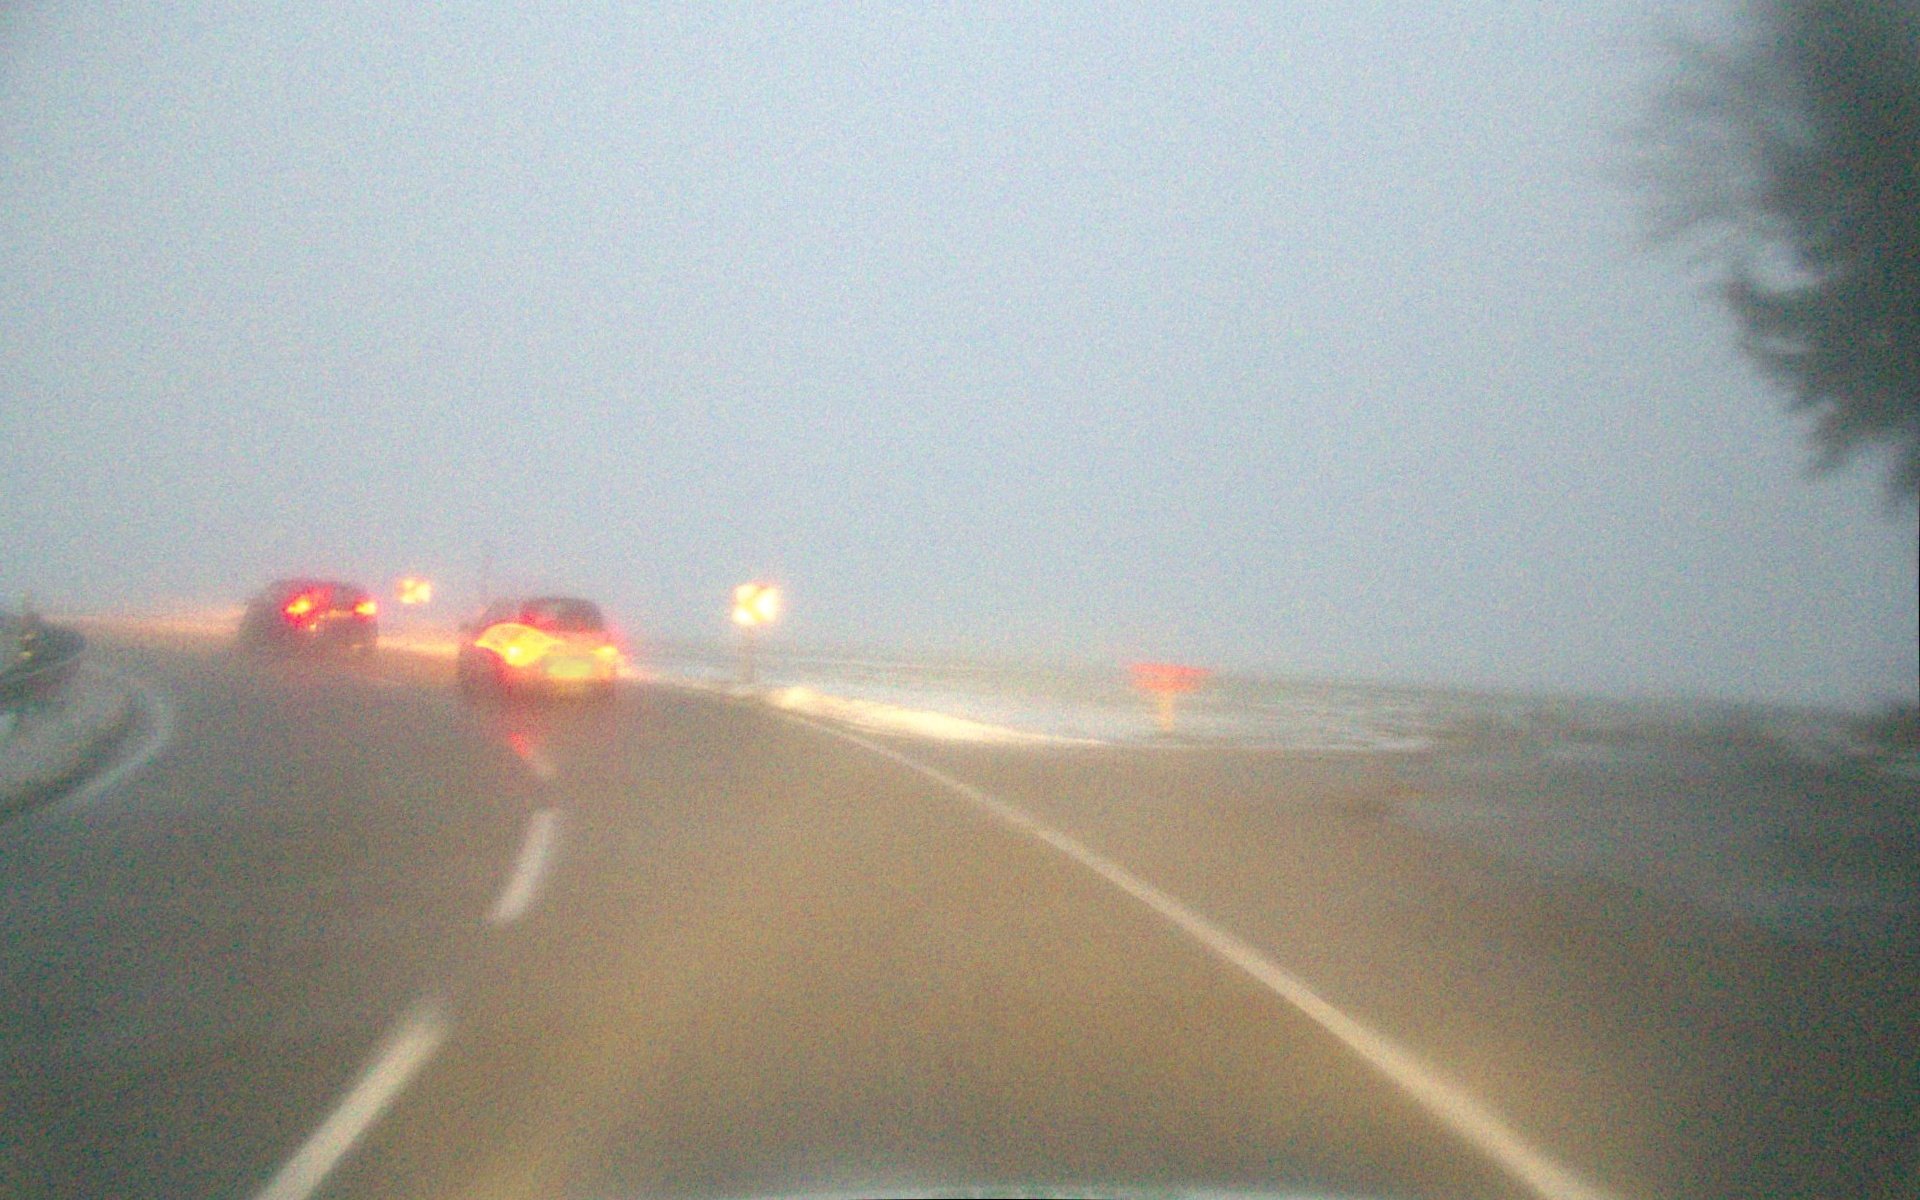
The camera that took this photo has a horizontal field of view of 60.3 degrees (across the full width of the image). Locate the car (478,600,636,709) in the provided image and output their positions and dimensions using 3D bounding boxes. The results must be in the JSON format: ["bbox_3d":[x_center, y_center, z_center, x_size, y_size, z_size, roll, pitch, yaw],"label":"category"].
[{"bbox_3d":[-5.810,0.714,23.547,1.915,1.405,3.980,0,0,-18],"label":"car"}]

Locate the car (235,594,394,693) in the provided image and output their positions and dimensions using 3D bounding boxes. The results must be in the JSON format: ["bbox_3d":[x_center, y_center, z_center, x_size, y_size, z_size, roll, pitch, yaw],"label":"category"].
[{"bbox_3d":[-12.777,0.805,32.627,1.978,1.814,3.948,-1,0,-36],"label":"car"}]
